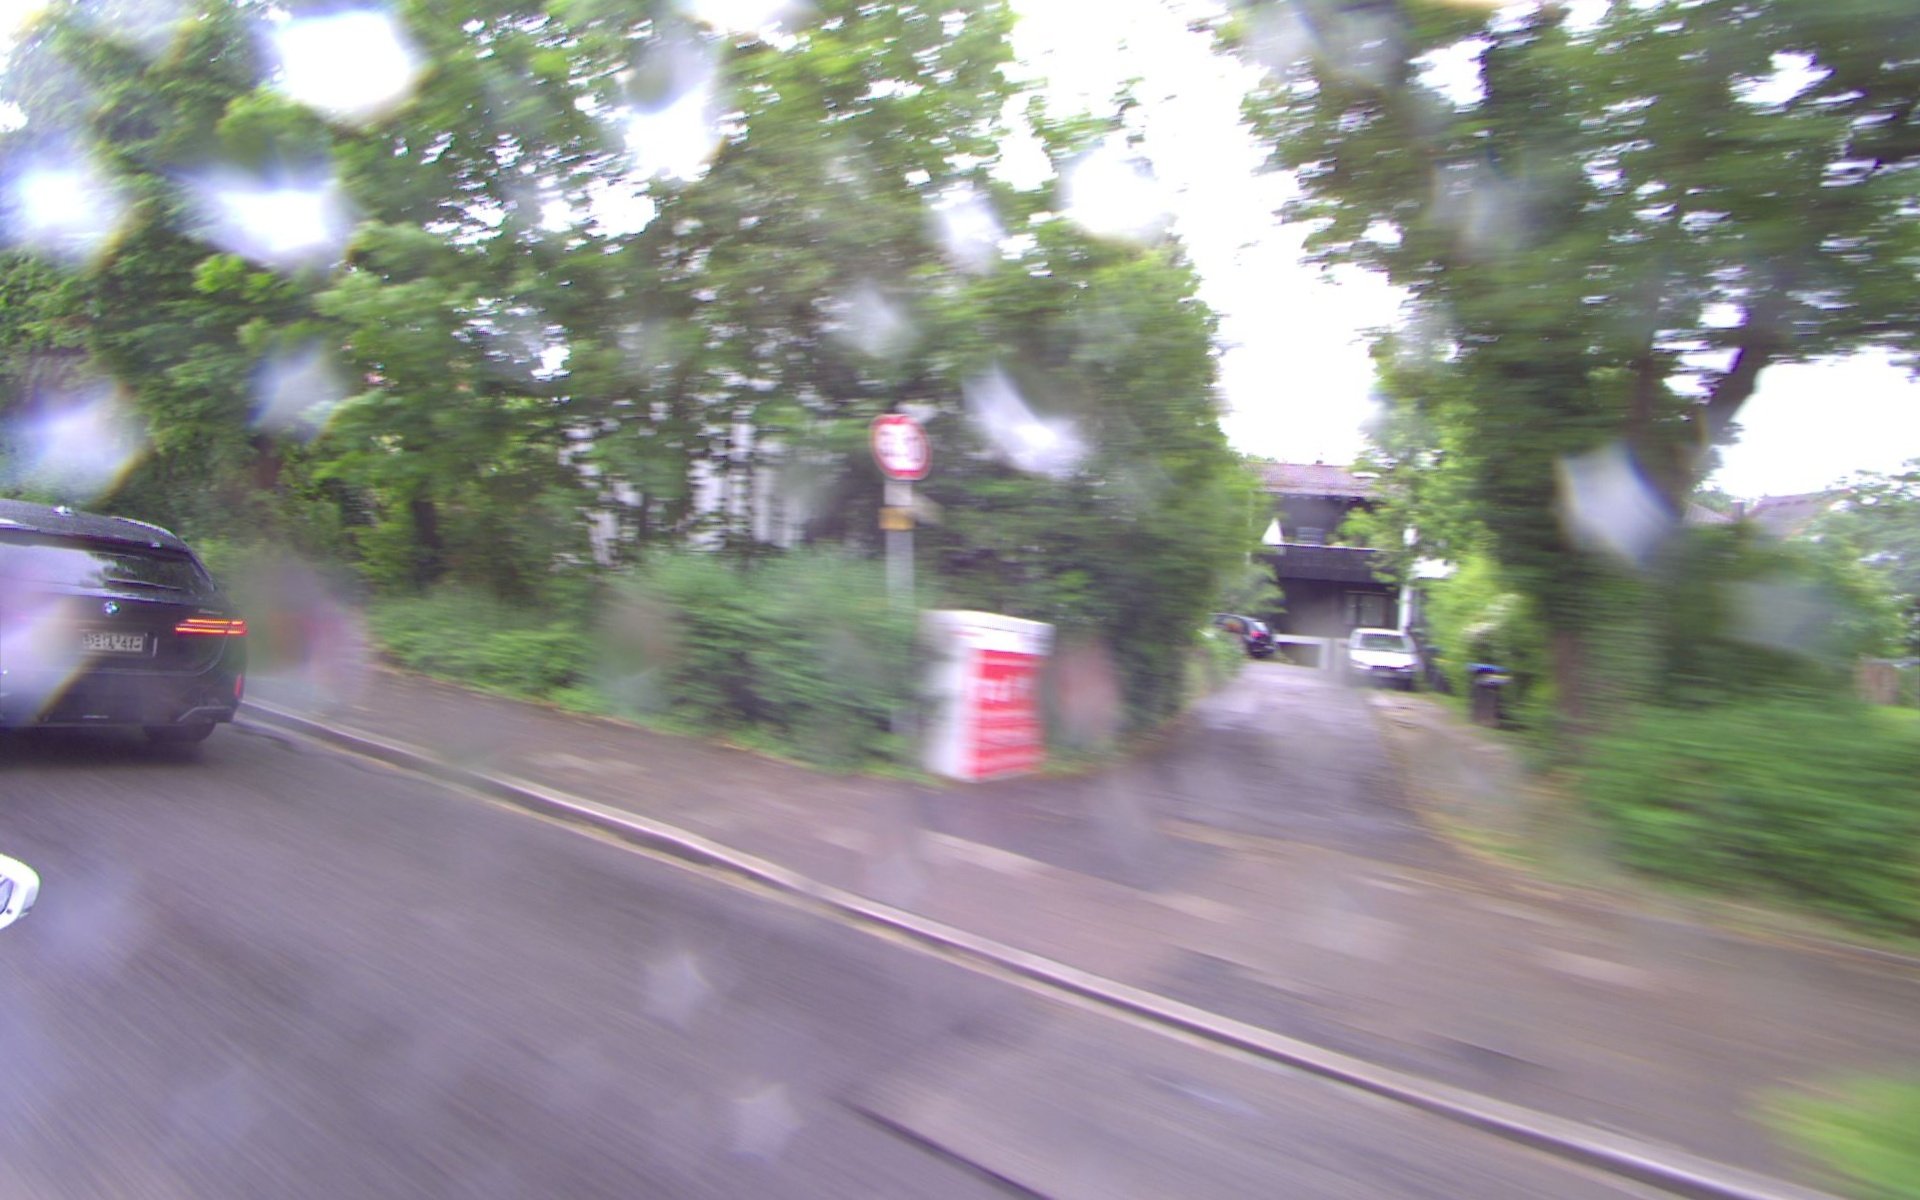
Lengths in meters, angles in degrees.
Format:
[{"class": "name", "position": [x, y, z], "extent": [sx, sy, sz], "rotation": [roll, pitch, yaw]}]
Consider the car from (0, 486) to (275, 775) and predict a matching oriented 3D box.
[{"class": "car", "position": [-6.534, 0.054, 6.707], "extent": [3.611, 1.553, 1.769], "rotation": [6, -3, 31]}]
